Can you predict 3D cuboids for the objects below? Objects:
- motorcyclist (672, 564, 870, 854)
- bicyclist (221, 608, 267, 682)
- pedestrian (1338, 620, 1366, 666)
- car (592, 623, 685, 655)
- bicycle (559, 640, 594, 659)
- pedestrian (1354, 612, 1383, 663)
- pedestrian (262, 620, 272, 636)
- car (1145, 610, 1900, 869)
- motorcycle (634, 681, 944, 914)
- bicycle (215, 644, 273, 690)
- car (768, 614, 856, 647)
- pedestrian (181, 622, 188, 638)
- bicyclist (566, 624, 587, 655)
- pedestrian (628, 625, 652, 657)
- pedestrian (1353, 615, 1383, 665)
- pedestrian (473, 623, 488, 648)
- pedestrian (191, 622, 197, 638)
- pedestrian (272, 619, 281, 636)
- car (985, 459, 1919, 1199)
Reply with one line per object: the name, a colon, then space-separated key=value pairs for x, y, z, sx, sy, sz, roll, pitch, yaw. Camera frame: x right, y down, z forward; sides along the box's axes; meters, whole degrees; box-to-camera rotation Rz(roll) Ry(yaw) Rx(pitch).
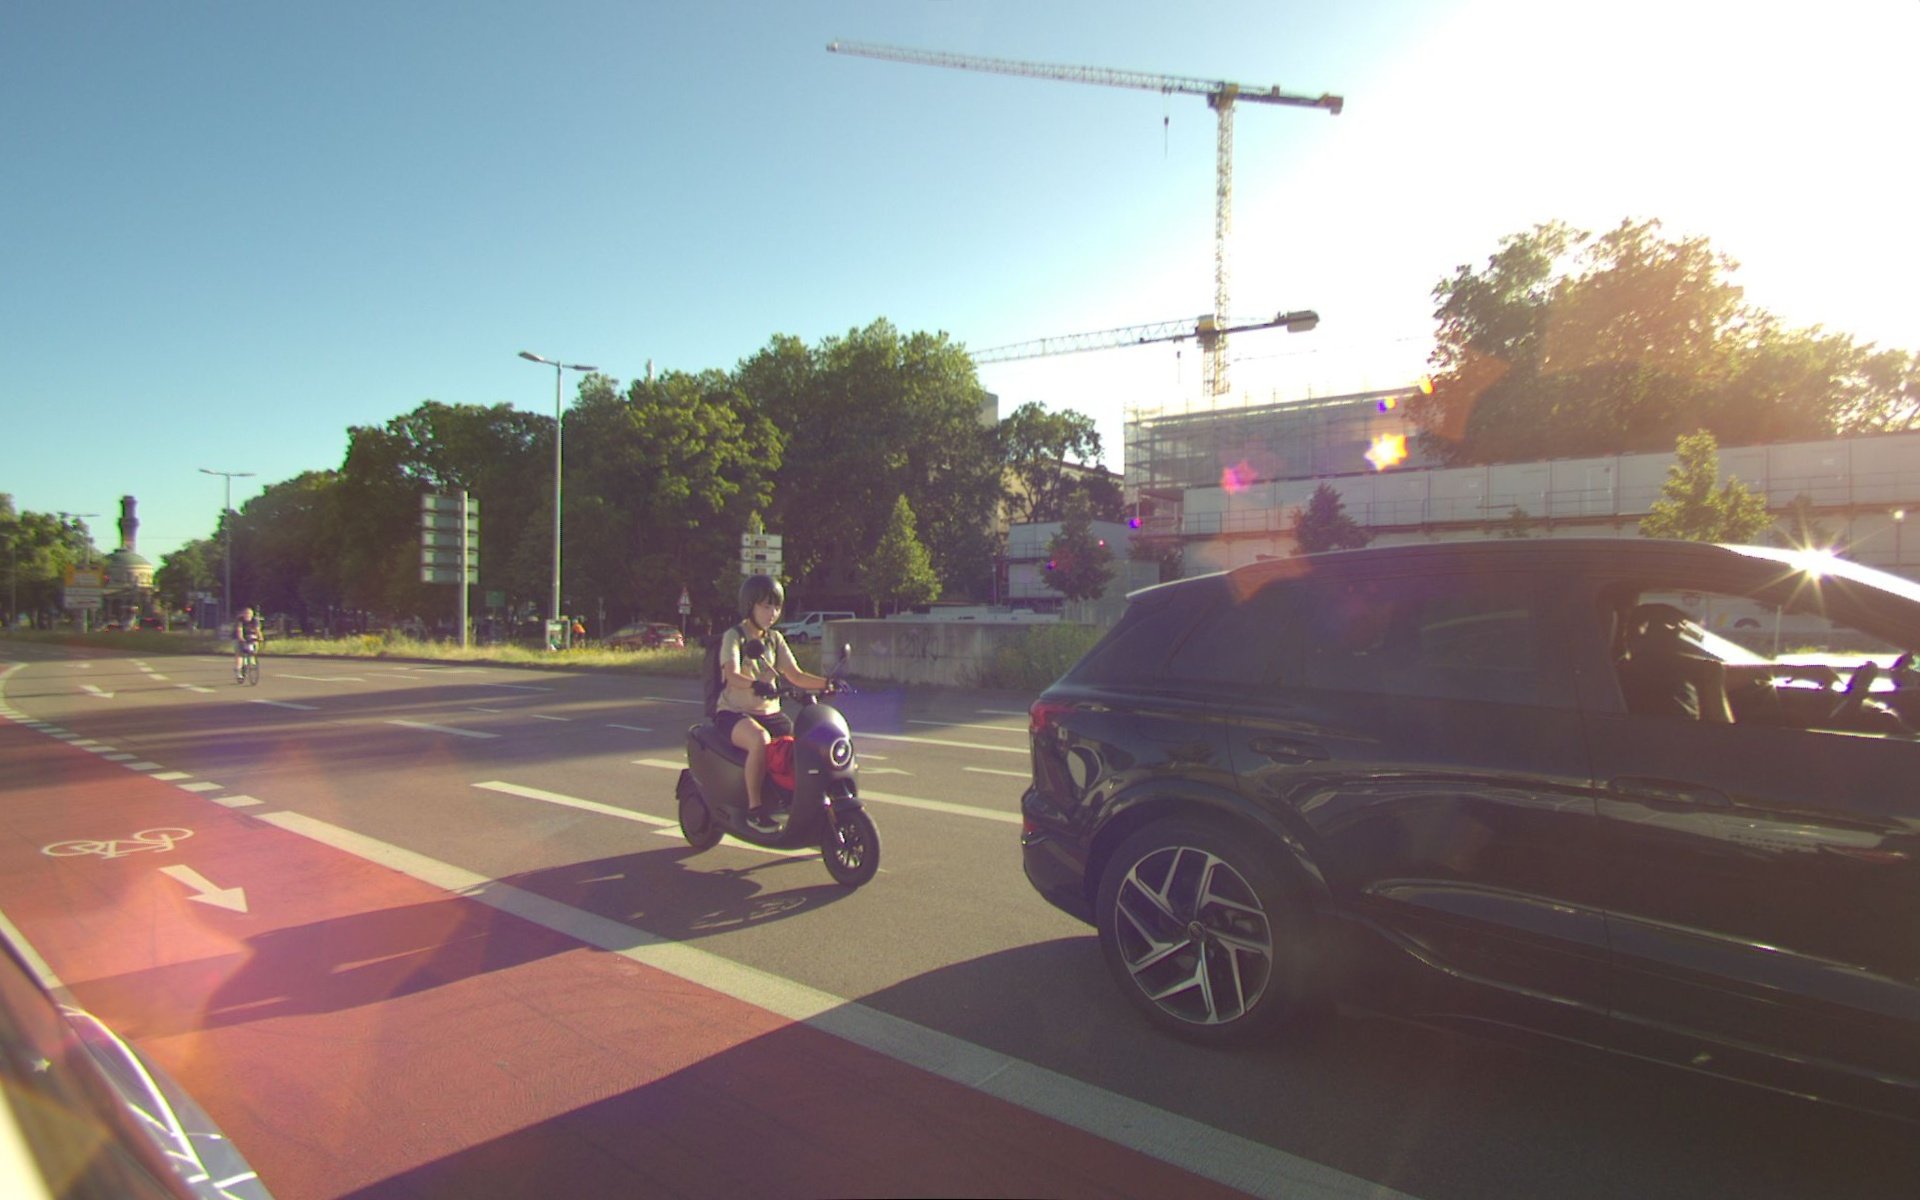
motorcyclist: x=-1.092 y=0.571 z=5.803 sx=0.746 sy=1.495 sz=0.882 roll=0 pitch=-1 yaw=-45
bicyclist: x=-15.194 y=0.943 z=21.479 sx=0.937 sy=1.515 sz=0.616 roll=-1 pitch=-1 yaw=42
pedestrian: x=12.633 y=1.386 z=32.600 sx=0.654 sy=1.464 sz=0.596 roll=-1 pitch=-2 yaw=41
car: x=-12.226 y=1.444 z=38.453 sx=3.767 sy=1.141 sz=1.598 roll=-1 pitch=-1 yaw=40
bicycle: x=-17.372 y=2.233 z=45.822 sx=1.979 sy=0.810 sz=0.609 roll=-1 pitch=-2 yaw=41
pedestrian: x=13.771 y=1.253 z=34.099 sx=0.654 sy=1.693 sz=0.829 roll=-1 pitch=-2 yaw=41
pedestrian: x=-86.226 y=3.451 z=125.927 sx=0.691 sy=2.029 sz=0.691 roll=-1 pitch=-2 yaw=24
car: x=3.805 y=0.773 z=7.505 sx=4.523 sy=1.362 sz=1.753 roll=-1 pitch=-1 yaw=40
motorcycle: x=-1.042 y=1.012 z=5.754 sx=0.746 sy=0.976 sz=1.961 roll=0 pitch=-1 yaw=-45
bicycle: x=-15.284 y=1.408 z=21.572 sx=1.910 sy=0.915 sz=0.616 roll=-1 pitch=-1 yaw=42
car: x=-9.007 y=1.855 z=61.807 sx=2.000 sy=1.906 sz=5.256 roll=-2 pitch=-3 yaw=42
pedestrian: x=-98.682 y=3.775 z=128.779 sx=0.594 sy=2.029 sz=0.519 roll=-1 pitch=-2 yaw=38
bicyclist: x=-17.364 y=1.782 z=45.825 sx=0.768 sy=1.377 sz=0.609 roll=-1 pitch=-2 yaw=41
pedestrian: x=-18.408 y=2.334 z=58.250 sx=0.964 sy=1.796 sz=0.984 roll=-1 pitch=0 yaw=41
pedestrian: x=13.359 y=1.306 z=33.122 sx=0.654 sy=1.601 sz=0.829 roll=-1 pitch=-2 yaw=41
pedestrian: x=-32.459 y=2.395 z=68.516 sx=0.697 sy=1.740 sz=0.656 roll=-1 pitch=-2 yaw=41
pedestrian: x=-95.434 y=3.732 z=126.072 sx=0.594 sy=2.029 sz=0.519 roll=-1 pitch=-2 yaw=38
pedestrian: x=-85.637 y=3.442 z=126.736 sx=0.691 sy=2.029 sz=0.691 roll=-1 pitch=-2 yaw=24
car: x=2.623 y=0.555 z=3.099 sx=4.786 sy=1.675 sz=2.172 roll=-1 pitch=-2 yaw=39
